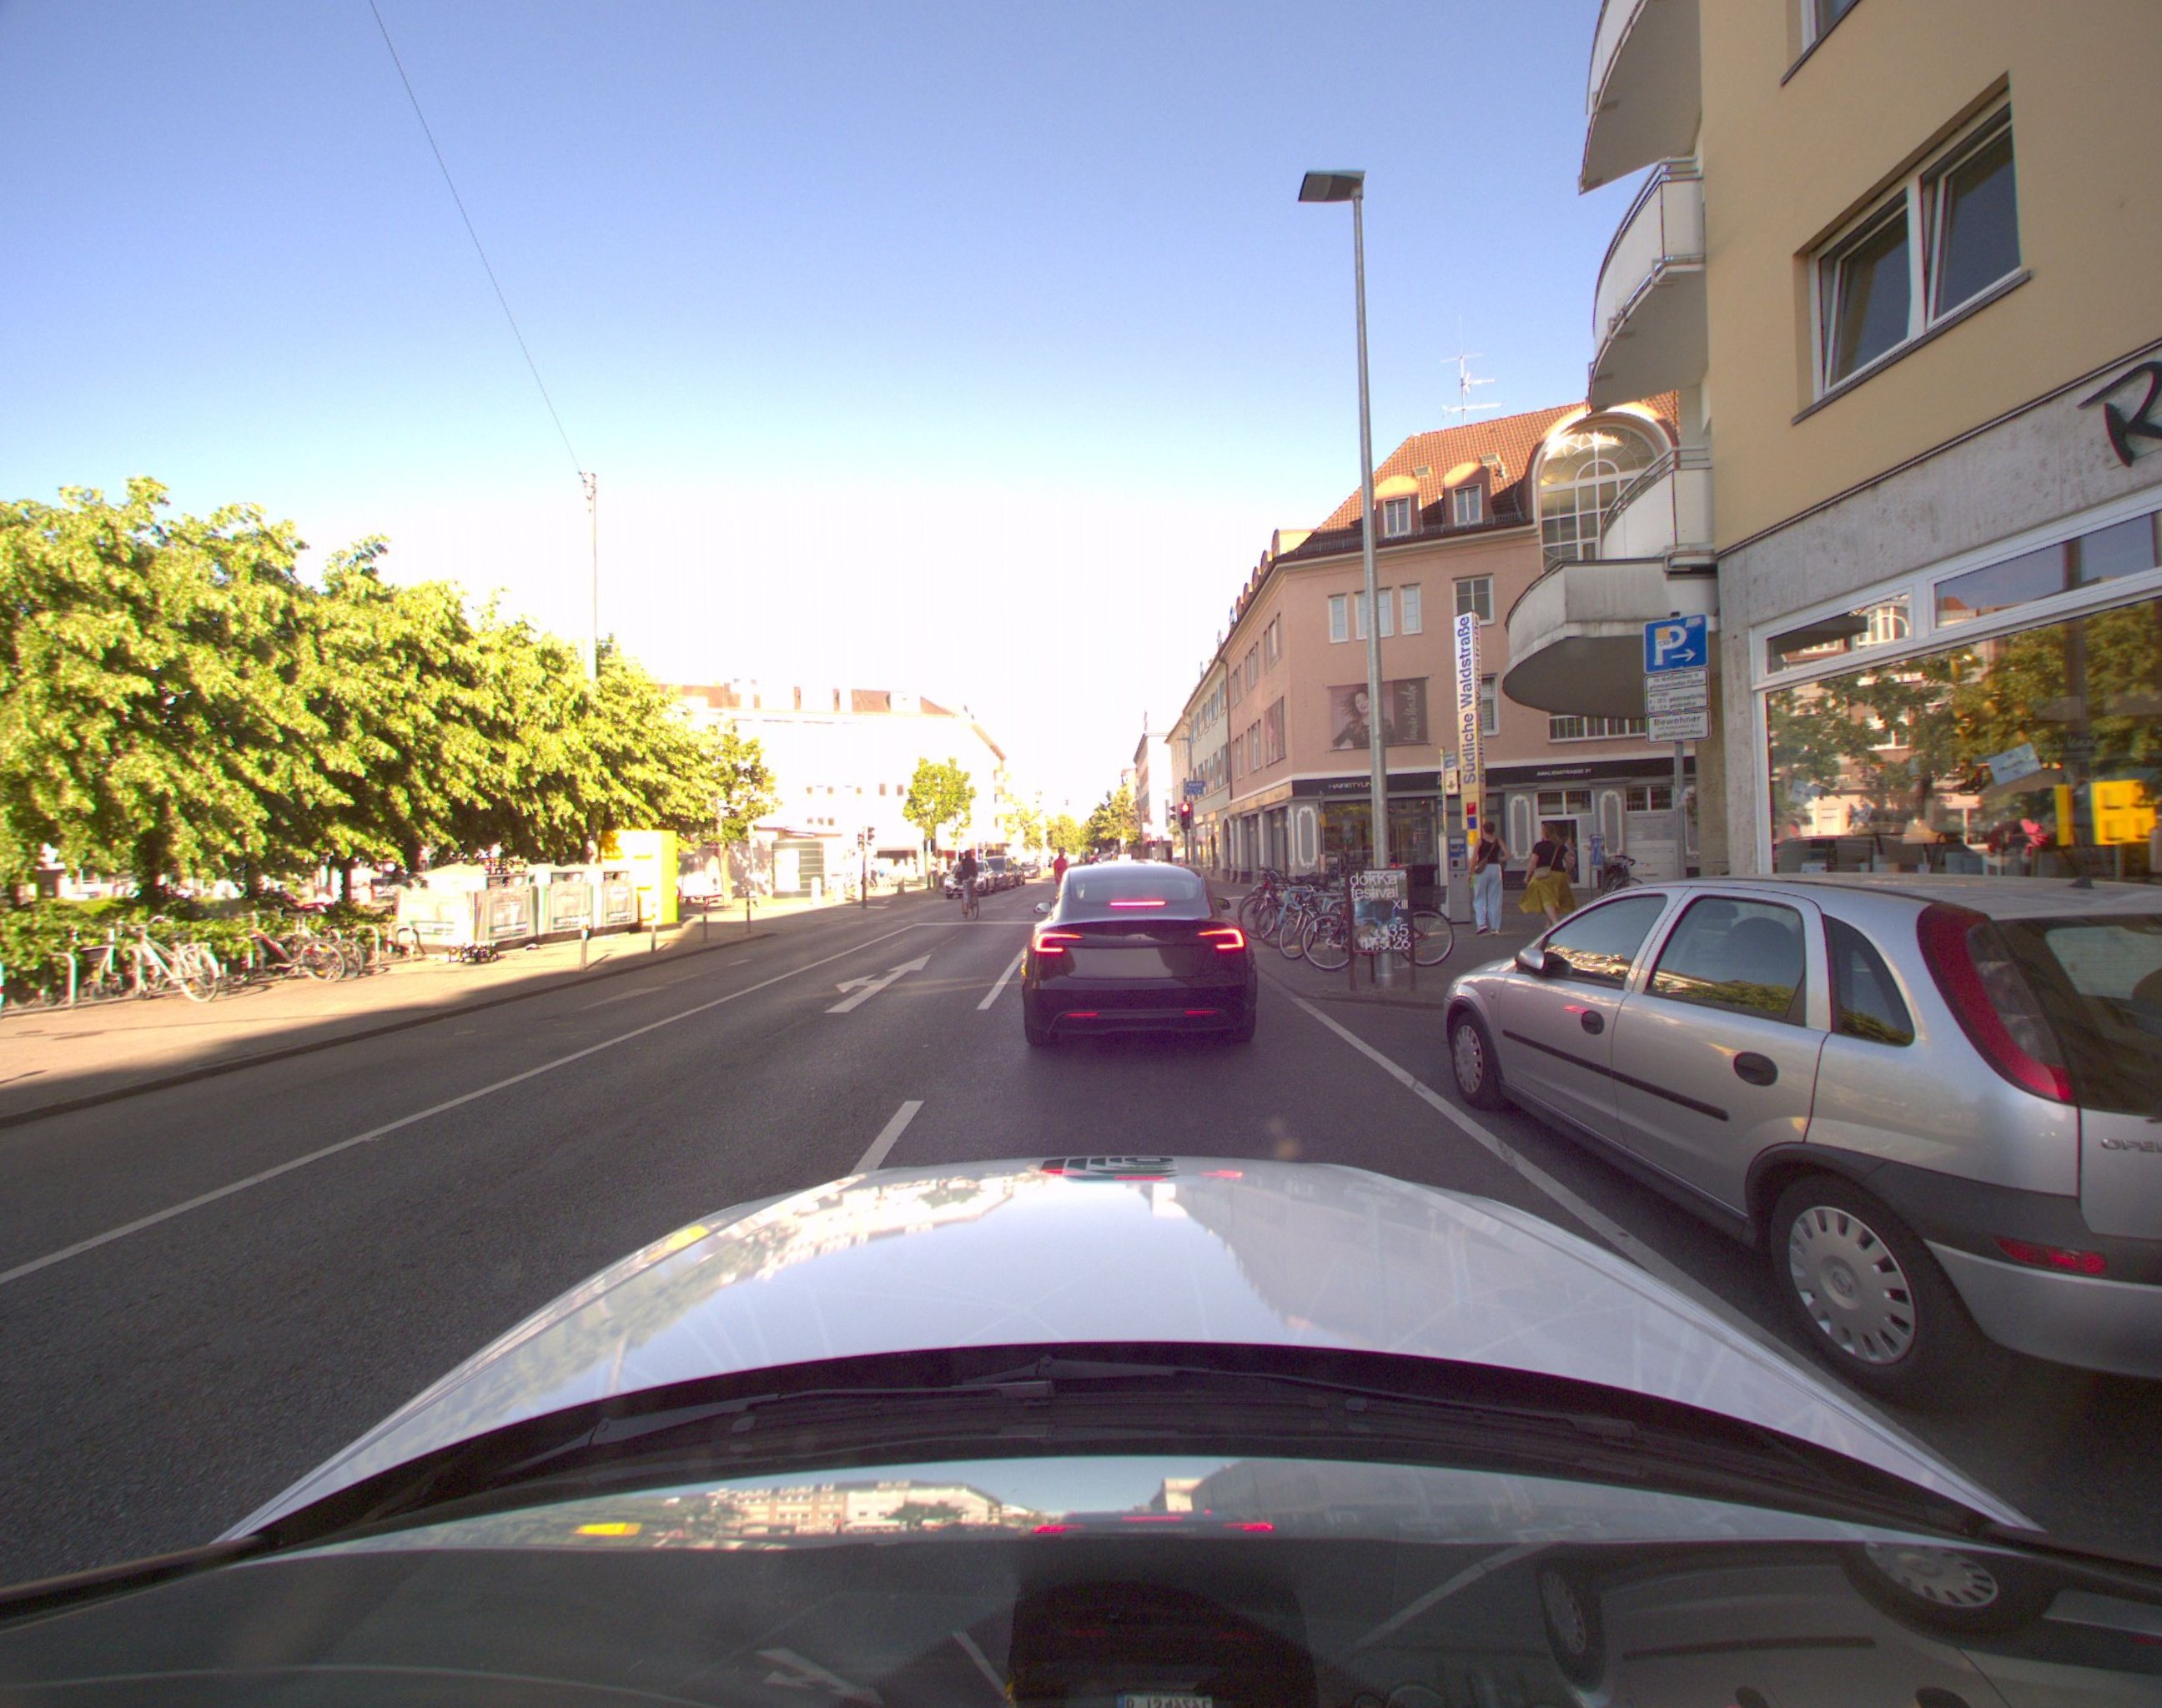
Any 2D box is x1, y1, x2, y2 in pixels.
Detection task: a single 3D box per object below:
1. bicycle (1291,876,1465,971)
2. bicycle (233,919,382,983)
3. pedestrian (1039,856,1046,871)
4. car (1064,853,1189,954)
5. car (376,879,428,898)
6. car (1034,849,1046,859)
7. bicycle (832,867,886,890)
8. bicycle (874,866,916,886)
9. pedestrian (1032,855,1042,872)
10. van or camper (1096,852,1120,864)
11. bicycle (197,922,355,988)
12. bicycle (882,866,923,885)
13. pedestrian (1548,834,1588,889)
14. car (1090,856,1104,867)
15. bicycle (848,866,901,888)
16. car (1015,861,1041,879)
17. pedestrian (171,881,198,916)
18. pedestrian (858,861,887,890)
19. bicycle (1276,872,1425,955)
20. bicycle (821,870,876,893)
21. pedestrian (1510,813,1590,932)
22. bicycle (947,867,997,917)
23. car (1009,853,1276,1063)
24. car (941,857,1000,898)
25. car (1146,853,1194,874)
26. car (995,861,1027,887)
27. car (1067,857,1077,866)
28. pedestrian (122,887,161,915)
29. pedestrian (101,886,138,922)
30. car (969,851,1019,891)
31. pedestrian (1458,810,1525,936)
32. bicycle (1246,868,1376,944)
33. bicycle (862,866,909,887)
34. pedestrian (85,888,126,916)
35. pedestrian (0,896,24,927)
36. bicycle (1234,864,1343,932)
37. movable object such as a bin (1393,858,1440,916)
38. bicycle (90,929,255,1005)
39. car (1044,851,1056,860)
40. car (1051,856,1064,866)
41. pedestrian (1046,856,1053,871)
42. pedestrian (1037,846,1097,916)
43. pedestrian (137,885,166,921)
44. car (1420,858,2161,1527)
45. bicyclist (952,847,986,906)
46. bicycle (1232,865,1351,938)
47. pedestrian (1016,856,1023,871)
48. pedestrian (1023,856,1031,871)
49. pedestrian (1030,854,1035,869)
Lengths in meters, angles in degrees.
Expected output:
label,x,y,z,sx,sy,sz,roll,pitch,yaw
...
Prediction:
label,x,y,z,sx,sy,sz,roll,pitch,yaw
bicycle,3.636,0.847,10.072,1.875,1.044,0.653,-2,0,3
bicycle,-11.461,1.427,12.092,1.663,0.859,0.469,0,-1,-5
pedestrian,-4.921,1.174,103.857,0.695,1.868,0.906,0,-1,-13
car,0.742,0.751,14.296,1.843,1.482,4.453,0,0,2
car,-50.147,2.522,60.203,2.762,1.266,1.233,0,-1,-28
car,-9.017,-0.008,180.128,2.266,2.014,4.720,0,-1,3
bicycle,-12.394,1.373,45.578,2.772,1.274,0.933,0,-1,-2
bicycle,-11.999,1.404,52.566,2.535,1.251,0.942,0,-1,-1
pedestrian,-5.127,1.104,94.921,0.726,1.868,0.796,-1,-1,30
van or camper,5.636,0.856,167.650,4.832,2.438,1.851,-1,0,1
bicycle,-11.426,1.426,11.593,1.667,0.859,0.469,0,-1,-5
bicycle,-12.053,1.424,54.994,2.535,1.251,0.942,0,-1,-1
pedestrian,13.923,0.212,23.285,0.796,1.549,0.715,0,-1,-37
car,2.885,1.352,145.418,2.025,1.788,4.013,-1,0,6
bicycle,-12.155,1.366,47.973,2.867,1.270,0.942,0,-1,-1
car,-4.209,1.255,65.664,1.687,1.390,3.918,0,-1,2
pedestrian,-39.909,1.966,36.257,0.553,1.508,0.611,-1,-1,17
pedestrian,-12.069,1.243,47.135,1.102,1.611,1.251,0,-1,-45
bicycle,3.656,0.799,11.145,1.806,1.060,0.653,-1,0,3
bicycle,-12.325,1.441,43.234,2.652,1.195,0.942,0,-1,-1
pedestrian,7.283,0.286,12.690,0.717,1.754,0.789,-4,-1,6
bicycle,-2.837,0.987,20.961,0.631,1.223,1.983,-1,-3,-27
car,0.496,0.740,7.872,1.843,1.447,4.453,0,0,2
car,-4.884,1.018,36.588,1.818,1.565,4.302,-5,-1,2
car,8.147,0.875,74.639,4.006,1.867,1.686,-1,0,-20
car,-4.257,1.208,50.036,1.455,1.430,3.607,-5,-1,2
car,-1.995,1.782,187.419,2.124,1.970,4.135,-1,0,2
pedestrian,-43.514,2.173,37.711,0.857,1.214,0.905,-1,-1,19
pedestrian,-41.464,2.140,35.123,0.928,1.520,0.924,0,-1,-43
car,-4.496,0.838,42.910,1.938,1.947,4.822,-1,0,2
pedestrian,6.360,0.290,12.669,0.675,1.849,0.898,-5,-1,19
bicycle,3.518,0.792,12.556,1.806,1.102,0.653,-1,0,3
bicycle,-12.054,1.390,50.291,2.655,1.259,0.942,0,-1,-1
pedestrian,-43.639,2.140,36.450,0.926,1.214,0.873,-1,-1,17
pedestrian,-65.657,3.519,49.580,1.306,1.842,1.090,0,-1,-36
bicycle,3.737,0.785,14.761,1.806,1.152,0.653,-1,0,3
movable object such as a bin,6.744,0.661,16.406,0.633,1.103,0.728,-4,-1,5
bicycle,-11.462,1.419,10.295,1.560,0.886,0.470,0,-1,1
car,-7.161,0.295,188.723,2.266,2.014,4.720,0,-1,3
car,-4.856,1.327,166.798,2.405,1.970,4.679,-1,0,2
pedestrian,-3.858,1.136,100.069,0.774,1.868,1.006,0,-1,-9
pedestrian,-0.348,0.662,20.489,1.099,1.719,1.068,-1,-1,29
pedestrian,-40.399,2.124,35.408,0.827,1.520,0.782,-1,-1,38
car,2.960,0.740,3.536,1.578,1.426,3.581,0,-1,2
bicyclist,-2.910,0.581,21.096,0.609,1.484,0.950,0,-1,-27
bicycle,3.496,0.777,13.632,1.806,1.152,0.653,-1,0,3
pedestrian,-7.332,1.138,97.218,0.734,1.868,0.787,0,-1,-15
pedestrian,-6.464,1.135,97.534,0.734,1.868,0.787,0,-1,-15
pedestrian,-6.215,0.981,104.214,0.693,1.868,0.658,0,-1,-3
